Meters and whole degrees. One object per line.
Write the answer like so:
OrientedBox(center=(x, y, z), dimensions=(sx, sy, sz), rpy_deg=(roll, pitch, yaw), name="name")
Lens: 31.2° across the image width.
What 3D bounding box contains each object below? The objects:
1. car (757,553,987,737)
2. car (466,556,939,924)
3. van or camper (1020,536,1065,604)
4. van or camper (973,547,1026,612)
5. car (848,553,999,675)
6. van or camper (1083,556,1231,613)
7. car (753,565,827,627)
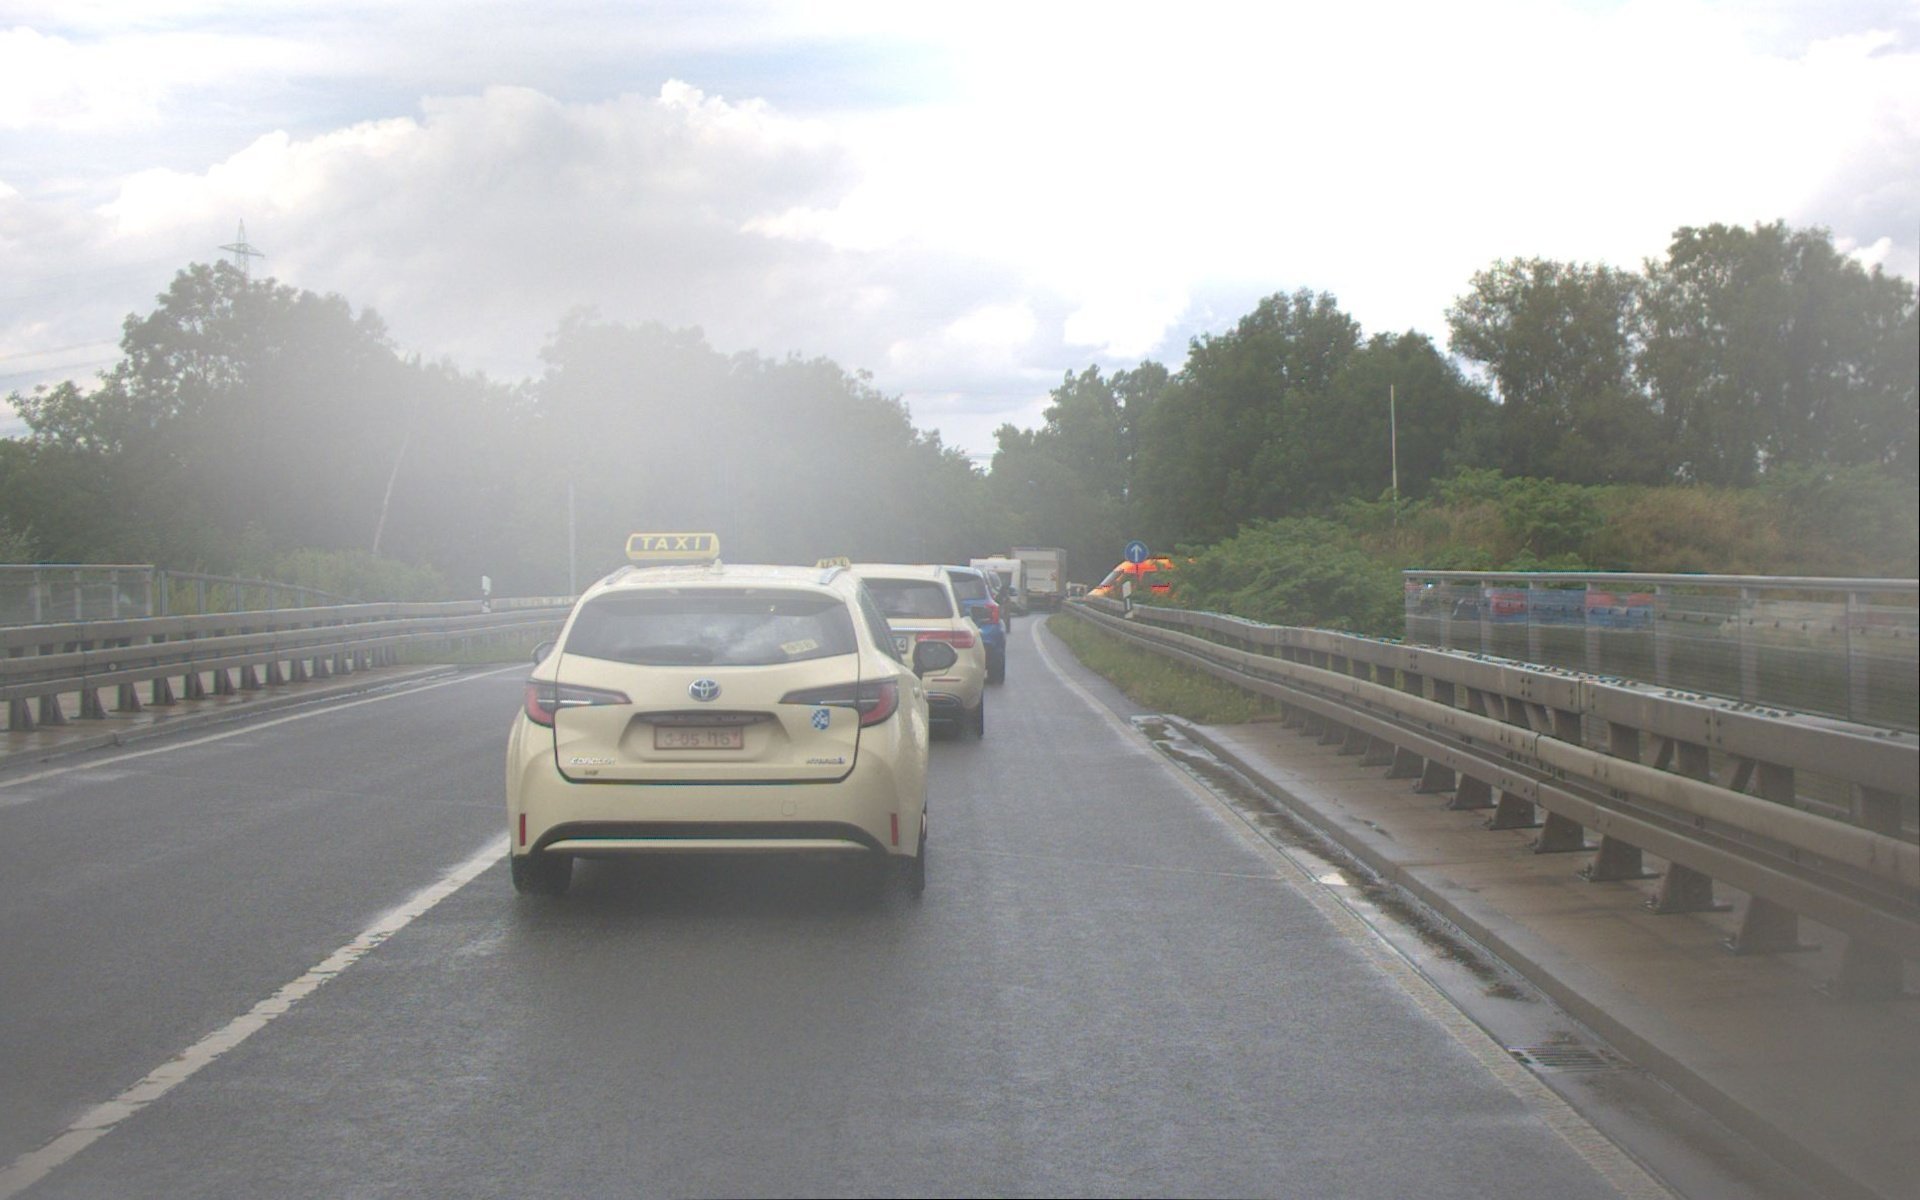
OrientedBox(center=(-0.726, 0.340, 30.205), dimensions=(1.854, 1.438, 4.171), rpy_deg=(1, 1, 0), name="car")
OrientedBox(center=(-1.042, 0.532, 15.811), dimensions=(1.854, 1.389, 4.171), rpy_deg=(1, 1, 0), name="car")
OrientedBox(center=(4.458, -1.643, 186.604), dimensions=(2.333, 3.550, 6.306), rpy_deg=(1, 1, 1), name="van or camper")
OrientedBox(center=(1.819, -0.952, 156.234), dimensions=(2.333, 2.854, 6.306), rpy_deg=(1, 1, 1), name="van or camper")
OrientedBox(center=(-0.462, 0.142, 44.678), dimensions=(1.854, 1.438, 4.171), rpy_deg=(1, 1, 0), name="car")
OrientedBox(center=(8.102, -0.633, 141.566), dimensions=(5.676, 2.234, 2.021), rpy_deg=(1, 1, -14), name="van or camper")
OrientedBox(center=(-4.304, -0.100, 87.623), dimensions=(1.713, 1.511, 3.860), rpy_deg=(1, 0, -1), name="car")
